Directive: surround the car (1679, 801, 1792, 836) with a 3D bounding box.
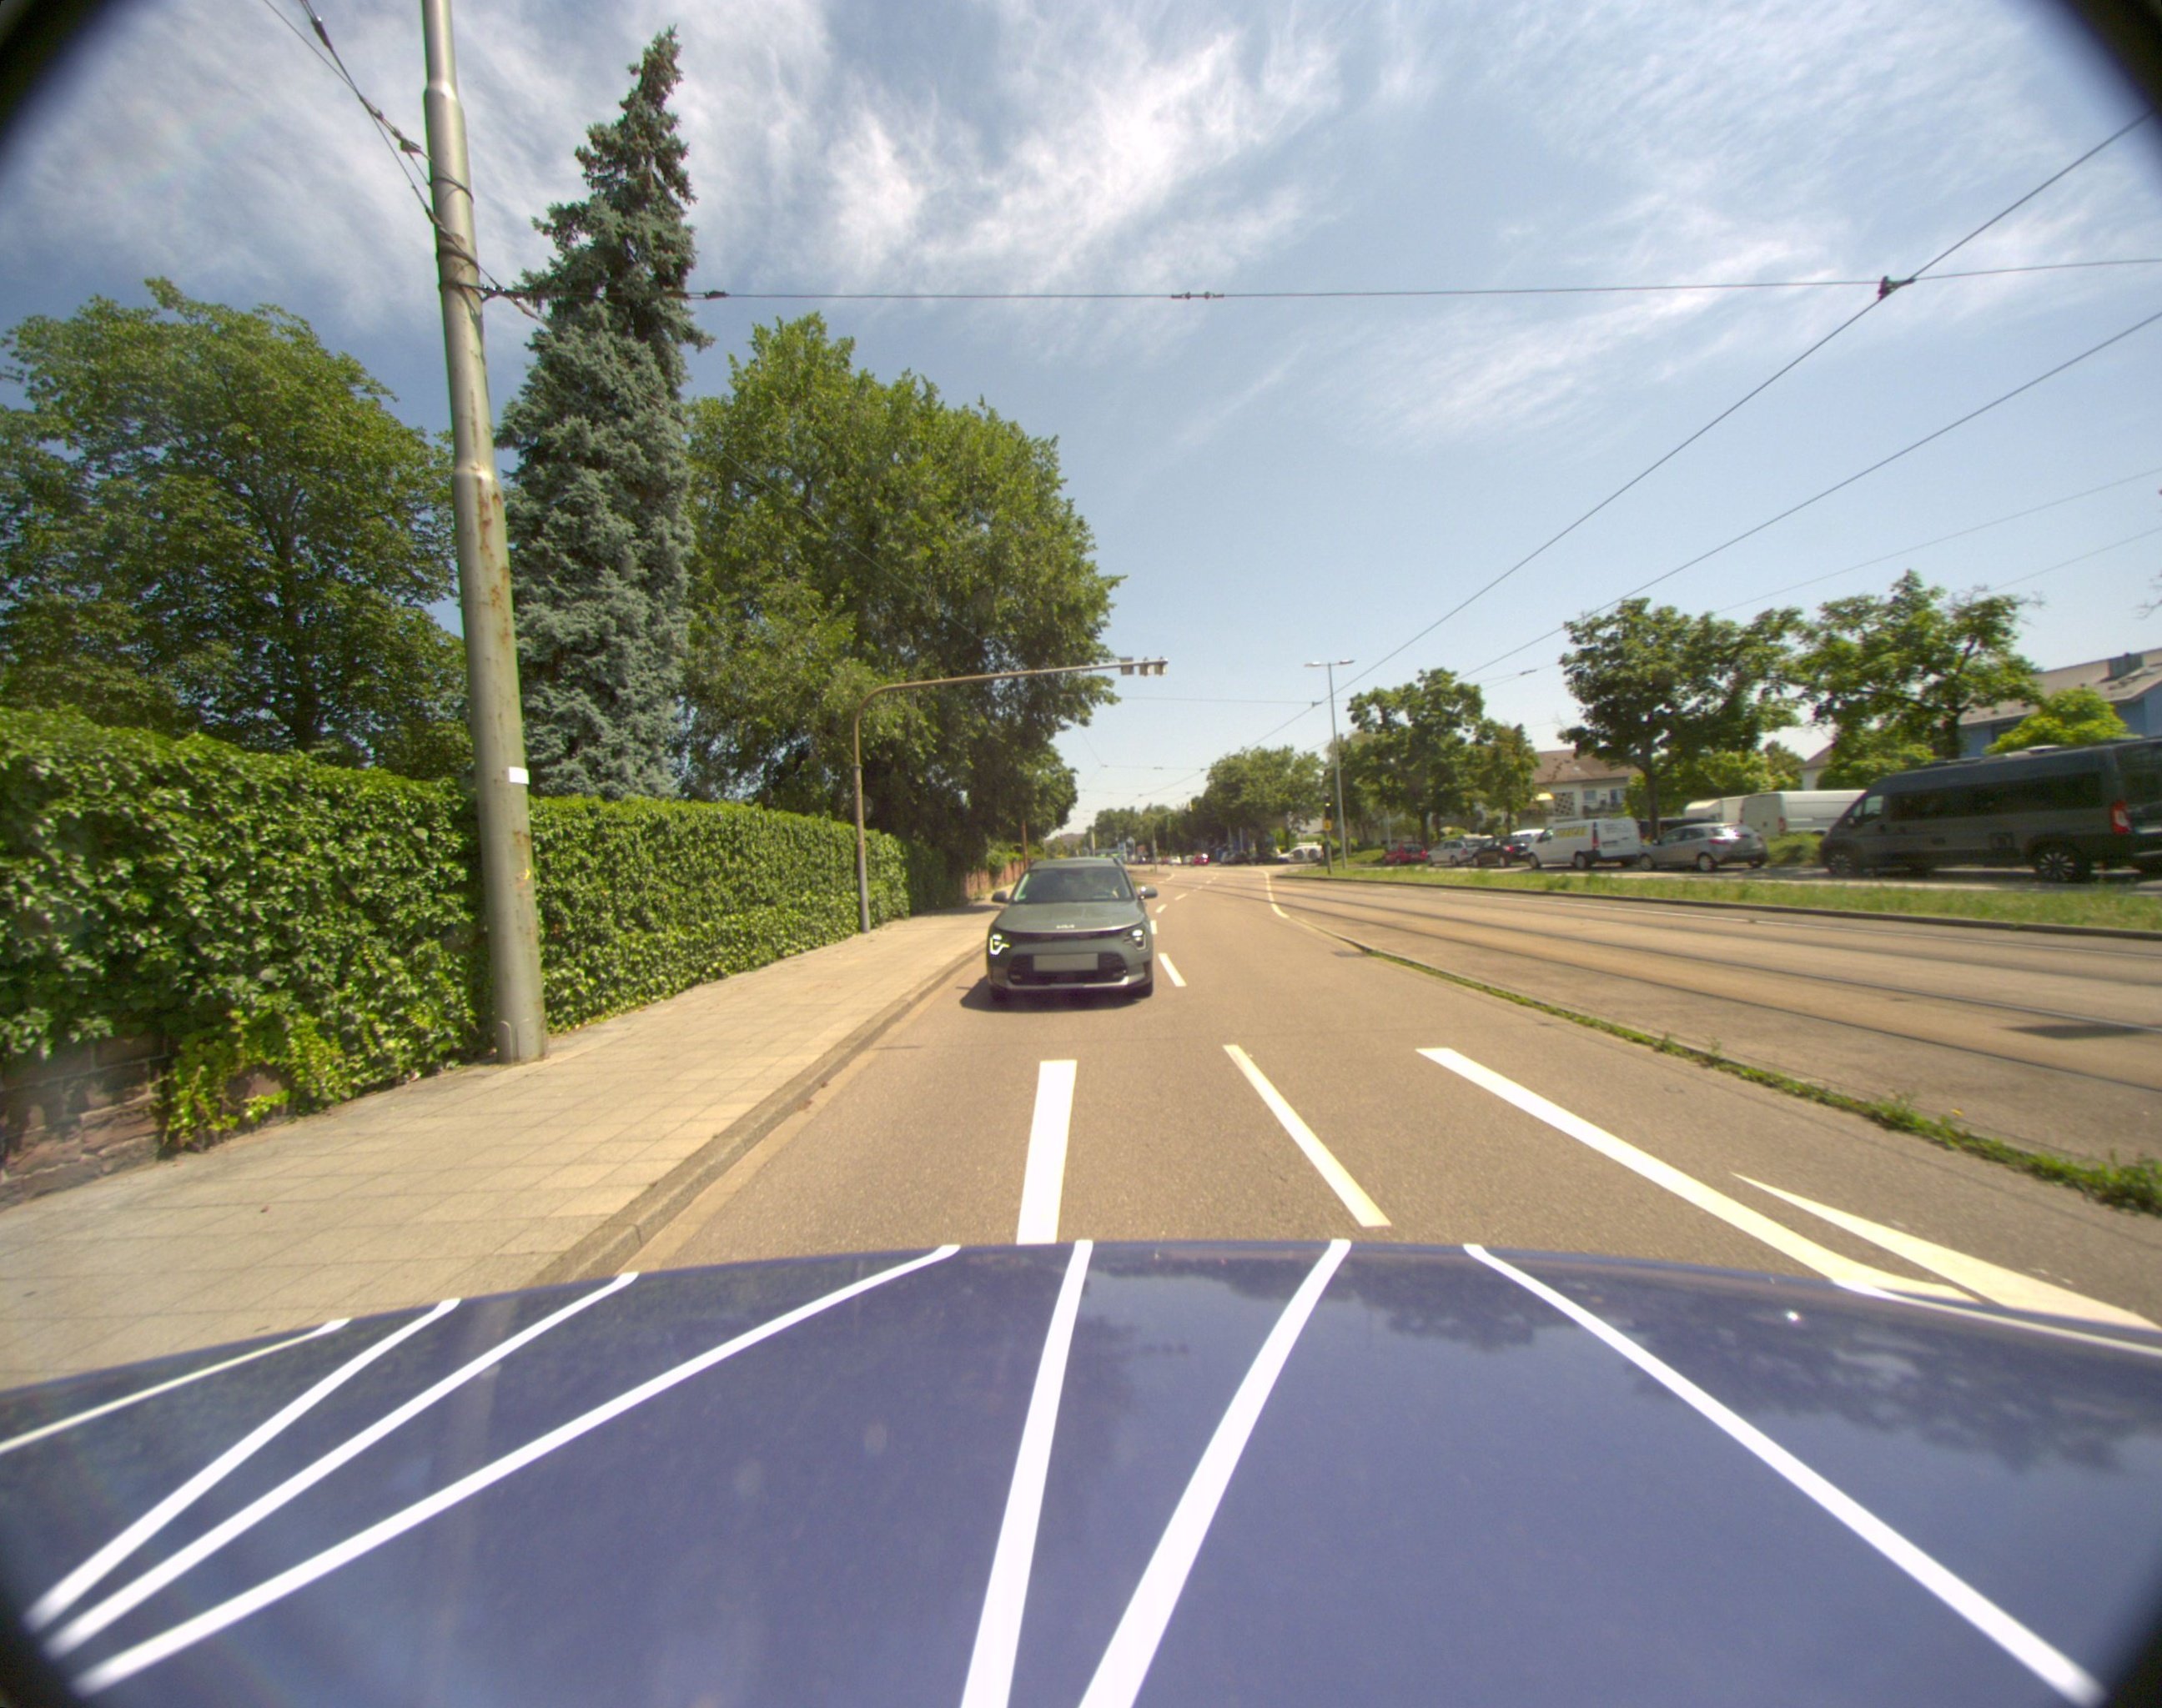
[{"bbox_3d":[43.688,-2.363,50.789,5.744,2.051,2.147,-2,1,-2],"label":"car"}]

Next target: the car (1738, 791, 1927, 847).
[{"bbox_3d":[29.997,-1.353,30.462,5.434,1.944,2.029,-2,1,2],"label":"car"}]

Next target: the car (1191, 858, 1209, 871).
[{"bbox_3d":[15.196,1.306,96.794,1.820,1.471,3.423,-2,1,2],"label":"car"}]

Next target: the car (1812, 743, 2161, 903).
[{"bbox_3d":[19.684,-0.604,16.470,2.244,2.821,5.667,-2,1,1],"label":"car"}]

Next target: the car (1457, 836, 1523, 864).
[{"bbox_3d":[30.720,-0.314,57.113,3.999,1.863,1.715,-2,1,-6],"label":"car"}]

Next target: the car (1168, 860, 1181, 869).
[{"bbox_3d":[14.824,1.691,120.723,1.780,1.310,3.755,-2,0,2],"label":"car"}]

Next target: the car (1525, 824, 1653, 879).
[{"bbox_3d":[19.948,-0.097,30.137,1.924,1.937,4.817,-2,1,2],"label":"car"}]

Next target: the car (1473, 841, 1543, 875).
[{"bbox_3d":[19.985,0.187,35.678,1.429,1.469,3.262,-2,1,0],"label":"car"}]

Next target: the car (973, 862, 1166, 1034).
[{"bbox_3d":[-0.139,0.949,9.641,1.824,1.577,4.287,-3,0,-1],"label":"car"}]

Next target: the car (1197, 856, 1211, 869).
[{"bbox_3d":[20.101,1.372,123.903,1.703,1.842,3.983,-2,1,2],"label":"car"}]

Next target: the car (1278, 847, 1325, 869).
[{"bbox_3d":[21.018,0.382,72.527,4.206,1.979,1.824,-2,1,15],"label":"car"}]

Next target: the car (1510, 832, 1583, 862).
[{"bbox_3d":[31.866,-0.511,52.074,3.999,1.863,1.715,-2,1,-6],"label":"car"}]

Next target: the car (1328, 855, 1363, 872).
[{"bbox_3d":[20.495,0.718,58.967,1.582,1.152,3.423,-2,0,2],"label":"car"}]

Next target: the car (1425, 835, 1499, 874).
[{"bbox_3d":[20.165,0.003,40.410,1.635,1.882,4.496,-2,1,0],"label":"car"}]

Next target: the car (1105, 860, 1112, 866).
[{"bbox_3d":[8.072,2.639,220.556,1.759,1.543,3.999,-3,0,-2],"label":"car"}]

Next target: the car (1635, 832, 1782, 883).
[{"bbox_3d":[19.983,0.100,24.410,1.767,1.456,3.608,-2,1,2],"label":"car"}]

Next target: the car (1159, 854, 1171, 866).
[{"bbox_3d":[14.921,1.050,135.457,1.780,1.907,3.755,-2,1,2],"label":"car"}]

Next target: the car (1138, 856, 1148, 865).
[{"bbox_3d":[13.604,1.472,167.110,1.780,1.907,3.755,-2,1,2],"label":"car"}]

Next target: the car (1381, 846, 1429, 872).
[{"bbox_3d":[20.040,0.285,47.075,1.582,1.471,3.423,-2,1,2],"label":"car"}]

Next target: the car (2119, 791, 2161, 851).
[{"bbox_3d":[30.639,-1.012,19.672,4.926,1.567,2.000,-3,0,-2],"label":"car"}]

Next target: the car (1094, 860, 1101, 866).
[{"bbox_3d":[5.296,2.902,244.326,1.999,2.002,3.998,-2,1,-4],"label":"car"}]
